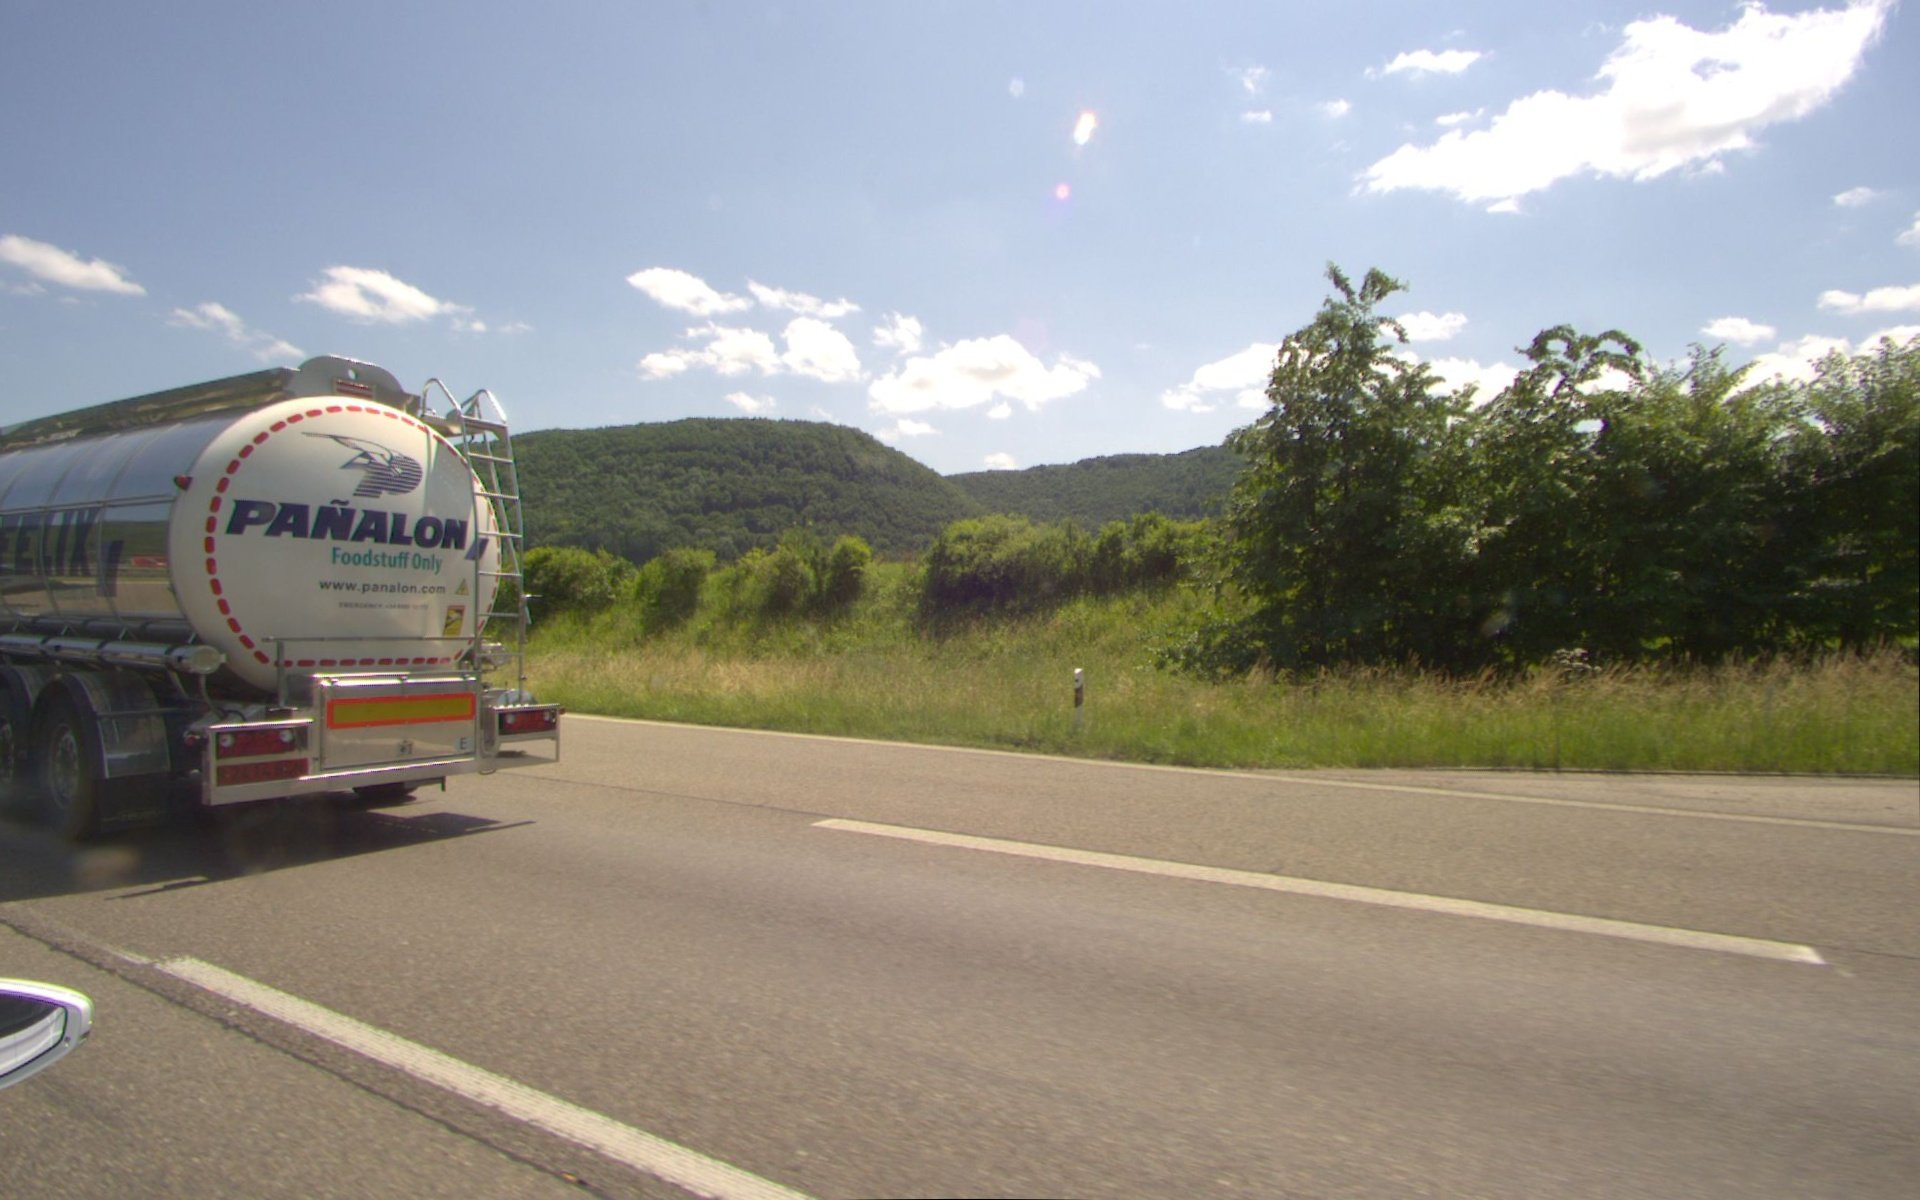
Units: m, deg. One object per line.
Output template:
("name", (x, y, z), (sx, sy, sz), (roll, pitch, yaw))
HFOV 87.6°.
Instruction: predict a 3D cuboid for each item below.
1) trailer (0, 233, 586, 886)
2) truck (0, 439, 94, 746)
("trailer", (-8.611, -0.146, 9.982), (11.719, 3.784, 2.534), (-1, -1, 32))
("truck", (-14.283, -0.076, 13.500), (5.169, 3.807, 2.507), (-1, -1, 32))
